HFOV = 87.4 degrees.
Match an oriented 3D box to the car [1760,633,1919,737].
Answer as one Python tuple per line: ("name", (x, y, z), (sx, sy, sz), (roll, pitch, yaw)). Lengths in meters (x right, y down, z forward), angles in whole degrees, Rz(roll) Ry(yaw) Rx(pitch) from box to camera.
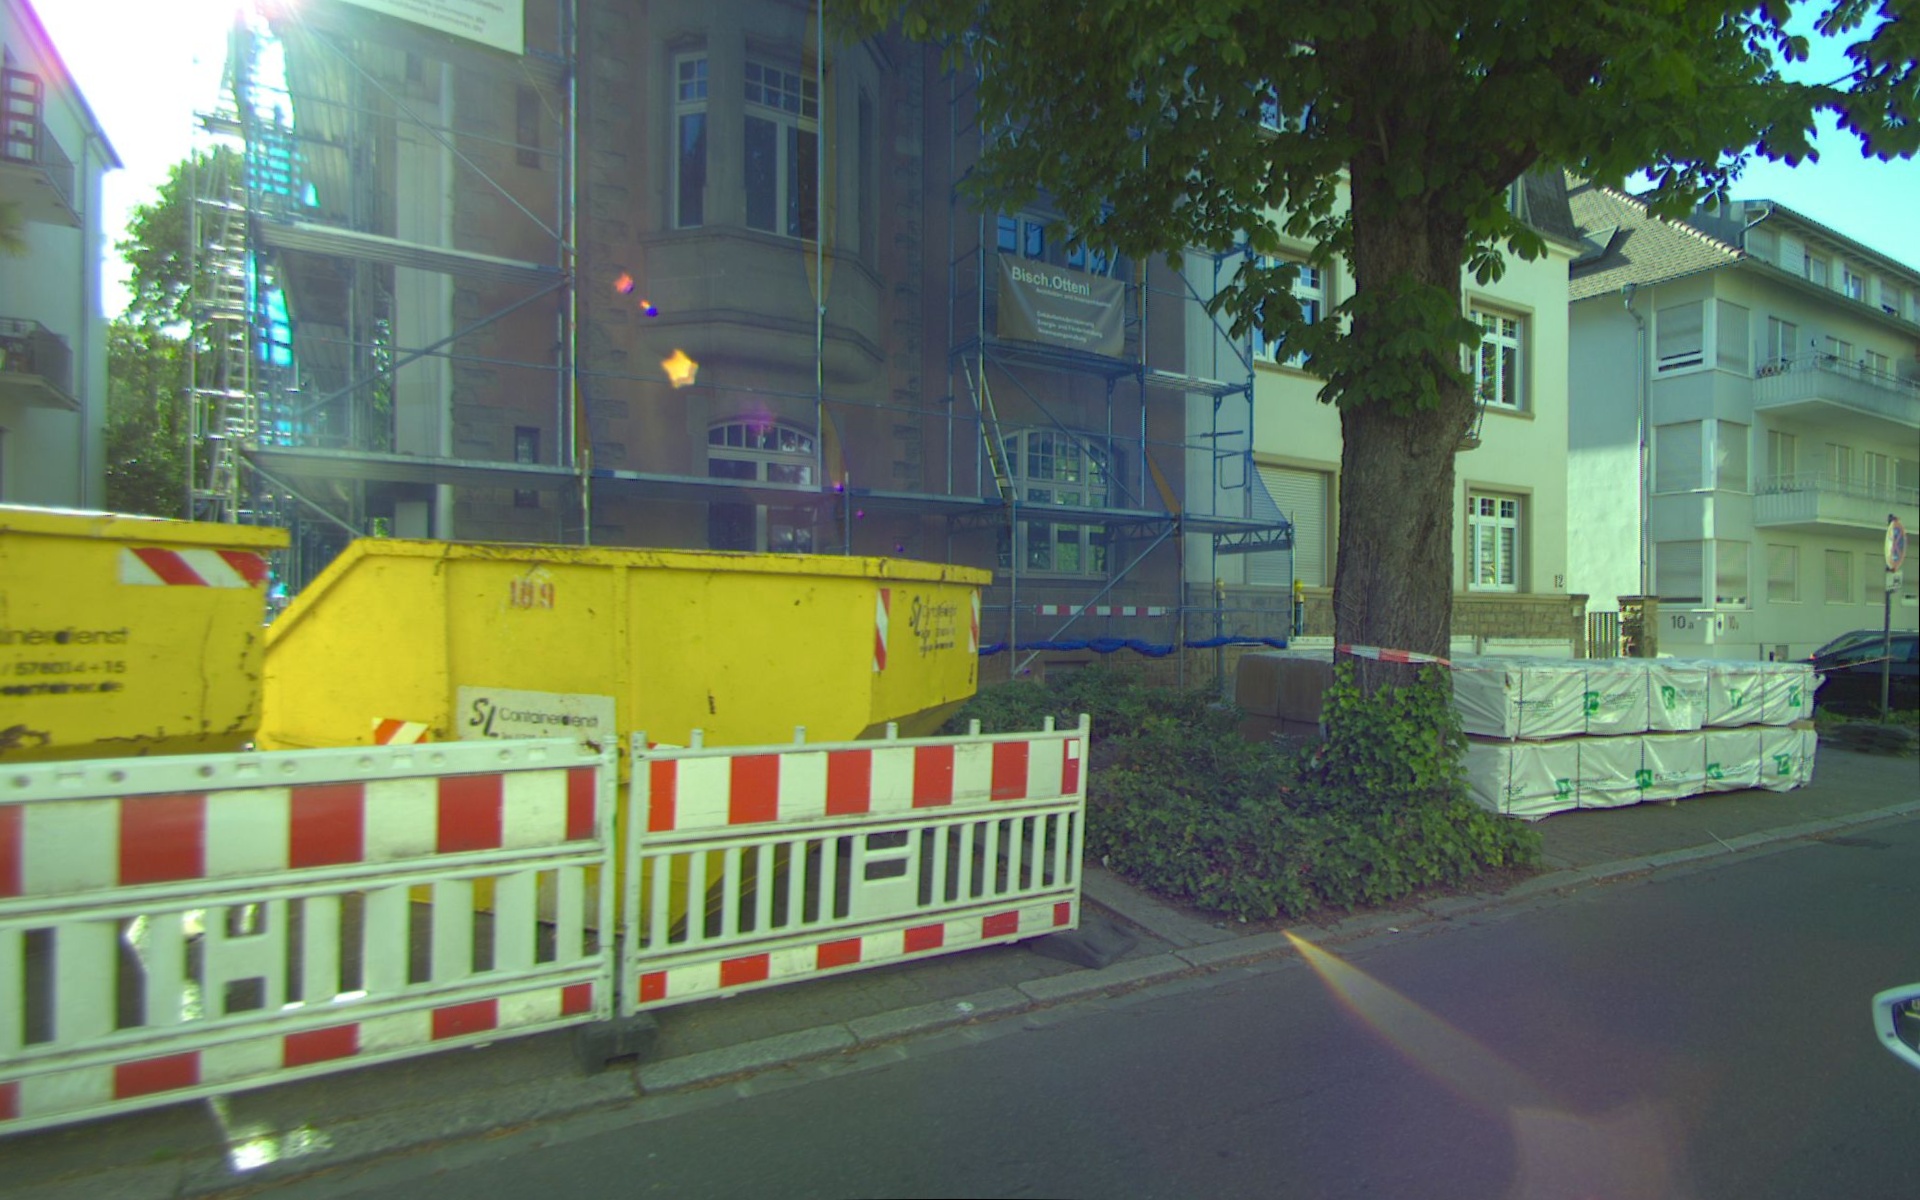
("car", (14.936, 1.275, 15.435), (1.817, 1.534, 3.840), (1, -2, -39))

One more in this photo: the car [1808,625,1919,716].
("car", (18.350, 1.266, 18.012), (1.817, 1.628, 4.553), (1, -2, -38))

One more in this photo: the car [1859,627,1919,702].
("car", (20.514, 1.325, 19.568), (1.693, 1.460, 4.166), (1, 0, -31))
